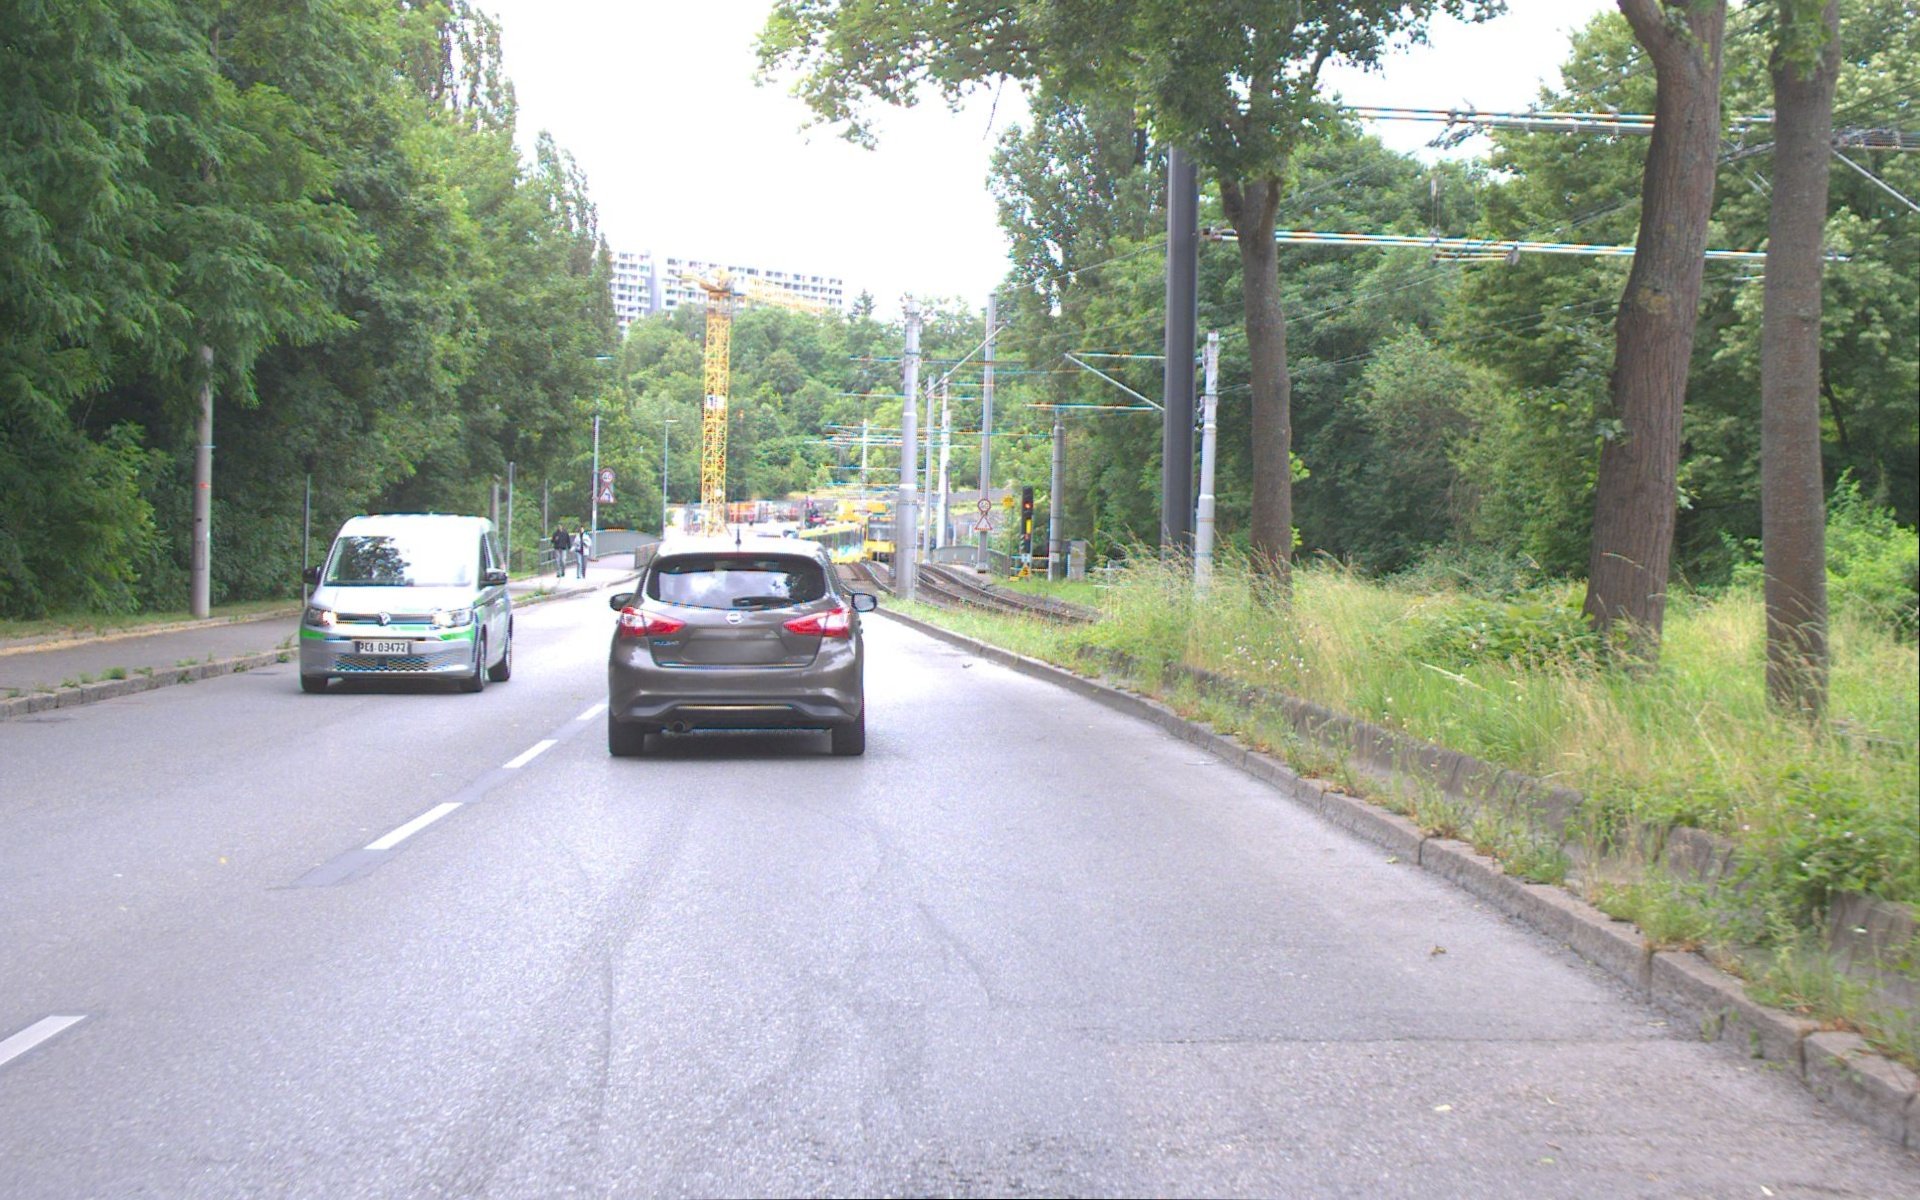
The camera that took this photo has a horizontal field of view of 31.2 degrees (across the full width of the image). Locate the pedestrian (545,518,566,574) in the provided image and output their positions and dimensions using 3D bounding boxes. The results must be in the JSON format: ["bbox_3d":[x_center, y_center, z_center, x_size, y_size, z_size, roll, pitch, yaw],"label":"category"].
[{"bbox_3d":[-13.251,-1.766,112.636,0.587,1.797,0.822,3,1,-4],"label":"pedestrian"}]

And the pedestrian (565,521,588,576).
[{"bbox_3d":[-12.591,-1.687,112.954,0.551,1.759,0.858,5,0,-4],"label":"pedestrian"}]

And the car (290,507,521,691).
[{"bbox_3d":[-5.684,-0.056,35.706,1.856,1.793,4.557,0,1,-3],"label":"car"}]

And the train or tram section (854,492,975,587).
[{"bbox_3d":[-3.061,-3.682,218.080,3.027,5.165,23.060,3,-2,-12],"label":"train or tram section"}]

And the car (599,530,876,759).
[{"bbox_3d":[-1.683,0.273,24.951,1.829,1.505,4.001,1,1,-6],"label":"car"}]
